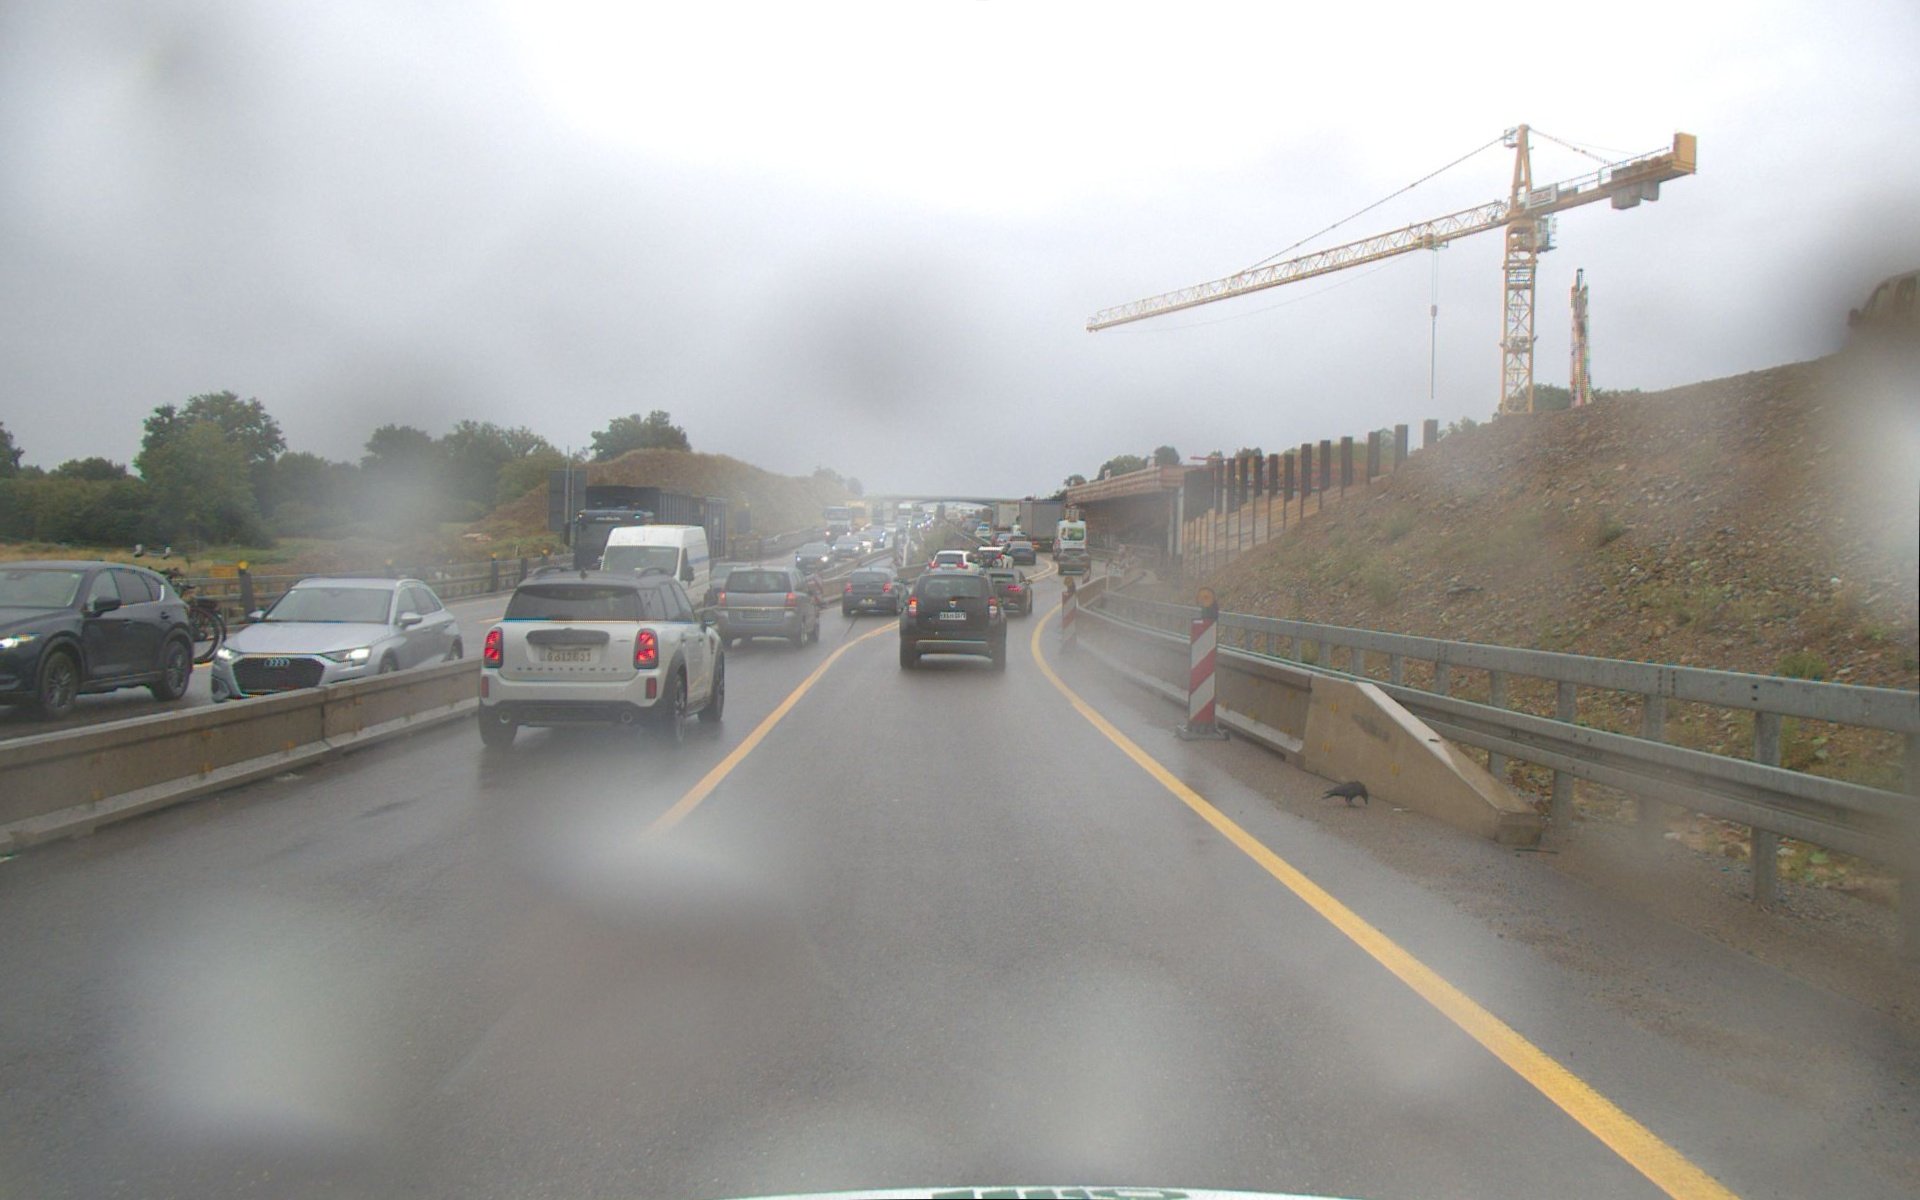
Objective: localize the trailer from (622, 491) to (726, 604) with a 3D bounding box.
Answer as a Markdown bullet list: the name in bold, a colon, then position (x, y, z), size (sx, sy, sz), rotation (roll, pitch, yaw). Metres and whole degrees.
- **trailer**: position (-10.948, -2.004, 64.133), size (2.691, 4.039, 9.671), rotation (0, 1, -2)

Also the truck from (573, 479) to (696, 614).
- **truck**: position (-10.595, -1.733, 54.707), size (2.588, 4.039, 9.210), rotation (0, 1, -2)

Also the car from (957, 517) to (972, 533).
- **car**: position (0.631, -10.238, 226.600), size (1.953, 2.049, 3.999), rotation (0, 1, -2)

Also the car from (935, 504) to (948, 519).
- **car**: position (-2.873, -13.811, 258.577), size (1.953, 2.049, 3.998), rotation (0, -1, -2)

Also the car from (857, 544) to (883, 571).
- **car**: position (-6.649, -3.149, 123.060), size (1.749, 1.841, 4.498), rotation (0, -1, -1)

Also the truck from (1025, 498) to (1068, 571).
- **truck**: position (7.240, -5.327, 137.308), size (3.036, 5.521, 9.449), rotation (0, -1, 6)

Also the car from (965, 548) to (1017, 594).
- **car**: position (1.628, -1.473, 85.522), size (1.951, 2.201, 4.144), rotation (0, -1, 11)

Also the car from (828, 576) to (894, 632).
- **car**: position (-3.022, 0.149, 51.027), size (1.954, 1.628, 4.138), rotation (0, -1, -3)

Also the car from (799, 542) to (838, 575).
- **car**: position (-7.622, -2.220, 89.270), size (1.702, 1.714, 5.551), rotation (1, 1, -1)

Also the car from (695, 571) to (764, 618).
- **car**: position (-7.746, -0.224, 55.896), size (1.831, 1.497, 4.669), rotation (0, 1, -2)

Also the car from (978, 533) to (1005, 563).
- **car**: position (2.518, -4.133, 132.217), size (1.952, 2.201, 4.142), rotation (0, -1, 4)

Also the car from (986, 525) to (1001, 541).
- **car**: position (4.736, -9.624, 236.596), size (1.953, 2.049, 3.998), rotation (0, -1, -2)

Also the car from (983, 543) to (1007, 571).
- **car**: position (3.064, -3.734, 143.665), size (1.953, 2.201, 4.140), rotation (0, -1, 0)

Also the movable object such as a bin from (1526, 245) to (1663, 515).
- **movable object such as a bin**: position (29.587, -9.903, 77.753), size (4.617, 11.033, 10.311), rotation (0, -1, 13)

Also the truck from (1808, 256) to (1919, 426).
- **truck**: position (18.592, -4.895, 30.086), size (2.592, 2.599, 6.981), rotation (0, -1, -2)

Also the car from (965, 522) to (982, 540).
- **car**: position (1.655, -8.358, 200.084), size (1.953, 2.049, 3.999), rotation (0, 1, -2)

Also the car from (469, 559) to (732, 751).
- **car**: position (-3.360, 0.485, 16.264), size (1.779, 1.628, 4.306), rotation (0, 0, -2)

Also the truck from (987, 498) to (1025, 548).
- **truck**: position (5.407, -9.092, 196.864), size (3.727, 5.131, 12.915), rotation (0, -1, -2)

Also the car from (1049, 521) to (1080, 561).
- **car**: position (7.266, -4.078, 115.263), size (1.952, 2.528, 4.982), rotation (0, -1, 1)

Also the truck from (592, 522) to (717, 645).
- **truck**: position (-7.359, -0.416, 40.446), size (2.104, 2.761, 6.014), rotation (1, 1, -2)

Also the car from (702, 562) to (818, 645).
- **car**: position (-4.097, 0.107, 34.541), size (1.953, 1.628, 4.139), rotation (0, -1, -1)

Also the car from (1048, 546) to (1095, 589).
- **car**: position (6.160, -1.776, 91.017), size (1.951, 2.201, 4.143), rotation (0, -1, 12)

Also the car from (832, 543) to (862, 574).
- **car**: position (-7.439, -2.733, 109.183), size (1.749, 1.841, 4.498), rotation (0, -1, -1)

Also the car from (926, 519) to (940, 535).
- **car**: position (-4.040, -10.778, 244.456), size (1.953, 2.049, 3.998), rotation (0, -1, -2)

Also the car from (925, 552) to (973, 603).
- **car**: position (-0.505, -0.936, 71.523), size (1.953, 2.049, 3.891), rotation (0, -1, -2)

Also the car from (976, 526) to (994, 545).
- **car**: position (2.746, -7.092, 182.303), size (1.812, 1.927, 4.020), rotation (0, -1, 0)

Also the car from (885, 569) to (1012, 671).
- **car**: position (-0.209, 0.364, 28.694), size (2.039, 1.628, 4.139), rotation (0, -1, -1)

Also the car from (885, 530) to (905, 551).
- **car**: position (-7.968, -7.238, 202.634), size (2.193, 2.400, 4.877), rotation (1, 1, 0)

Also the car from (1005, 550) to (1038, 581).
- **car**: position (3.922, -2.200, 105.965), size (1.952, 1.792, 3.814), rotation (0, -1, 0)

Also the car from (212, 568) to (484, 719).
- **car**: position (-6.881, 0.429, 19.092), size (1.643, 1.550, 4.343), rotation (0, 0, -2)

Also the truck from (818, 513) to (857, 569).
- **truck**: position (-11.481, -5.521, 156.265), size (3.020, 5.005, 8.563), rotation (1, 1, 0)

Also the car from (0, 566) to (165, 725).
- **car**: position (-10.202, 0.431, 17.928), size (1.693, 1.550, 3.870), rotation (0, 0, -7)

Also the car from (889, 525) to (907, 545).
- **car**: position (-8.126, -8.533, 216.923), size (2.171, 2.411, 4.663), rotation (1, 1, 0)

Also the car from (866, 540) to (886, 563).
- **car**: position (-7.310, -4.183, 143.821), size (1.590, 1.841, 3.636), rotation (0, -1, 0)

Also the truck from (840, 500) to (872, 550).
- **truck**: position (-11.910, -8.563, 190.456), size (3.077, 5.512, 8.523), rotation (1, 1, 0)
